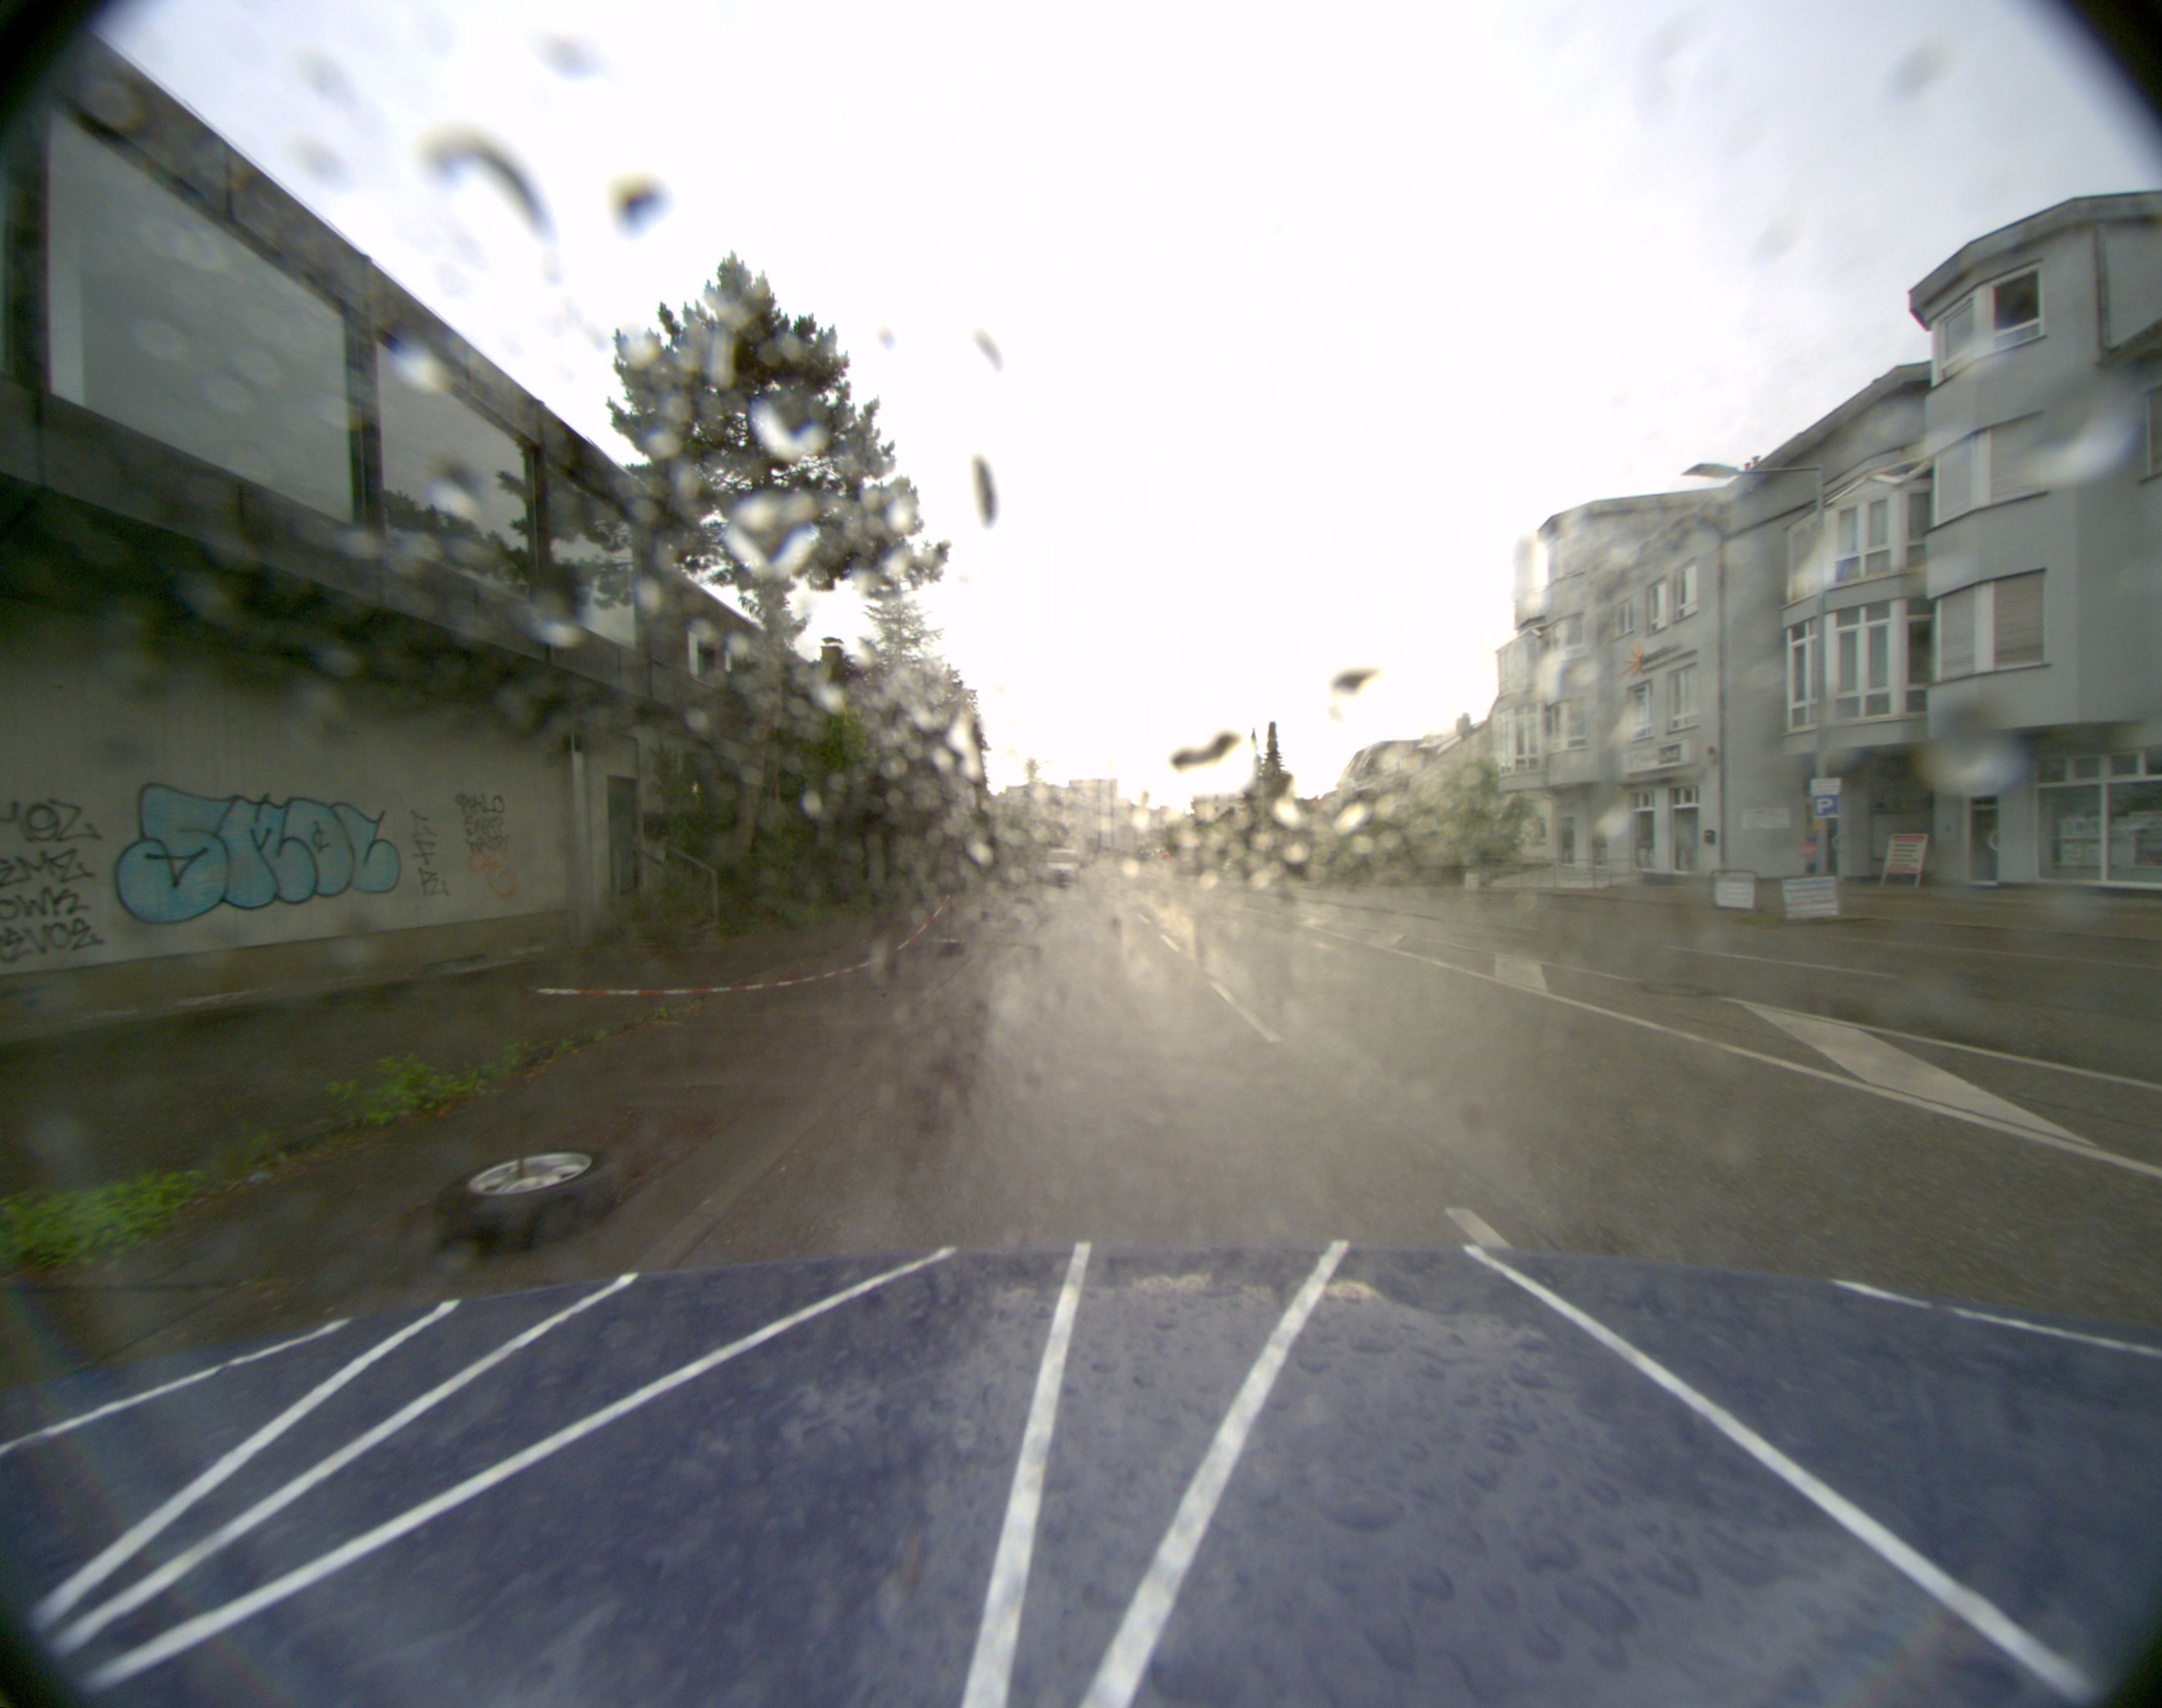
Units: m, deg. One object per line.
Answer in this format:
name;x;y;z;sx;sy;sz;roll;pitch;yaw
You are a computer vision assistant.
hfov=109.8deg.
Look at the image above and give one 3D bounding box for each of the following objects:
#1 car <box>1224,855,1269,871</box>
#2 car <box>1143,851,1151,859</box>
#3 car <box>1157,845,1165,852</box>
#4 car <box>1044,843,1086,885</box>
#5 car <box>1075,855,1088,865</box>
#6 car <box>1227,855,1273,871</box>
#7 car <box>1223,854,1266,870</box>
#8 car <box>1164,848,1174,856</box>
car;16.456;0.876;75.643;4.155;1.434;1.891;-2;0;7
car;15.548;0.124;179.712;1.851;1.870;4.122;-1;0;5
car;22.057;-1.495;210.047;1.850;1.753;4.124;-1;0;10
car;-0.904;0.596;46.836;2.397;2.417;6.432;0;0;0
car;0.099;0.937;129.197;1.912;1.622;3.703;-1;0;4
car;16.234;0.858;73.022;4.034;1.434;1.813;-2;0;5
car;16.839;0.809;78.359;4.114;1.536;2.001;-2;0;5
car;20.420;-0.448;176.198;1.997;1.606;4.003;-1;0;11
